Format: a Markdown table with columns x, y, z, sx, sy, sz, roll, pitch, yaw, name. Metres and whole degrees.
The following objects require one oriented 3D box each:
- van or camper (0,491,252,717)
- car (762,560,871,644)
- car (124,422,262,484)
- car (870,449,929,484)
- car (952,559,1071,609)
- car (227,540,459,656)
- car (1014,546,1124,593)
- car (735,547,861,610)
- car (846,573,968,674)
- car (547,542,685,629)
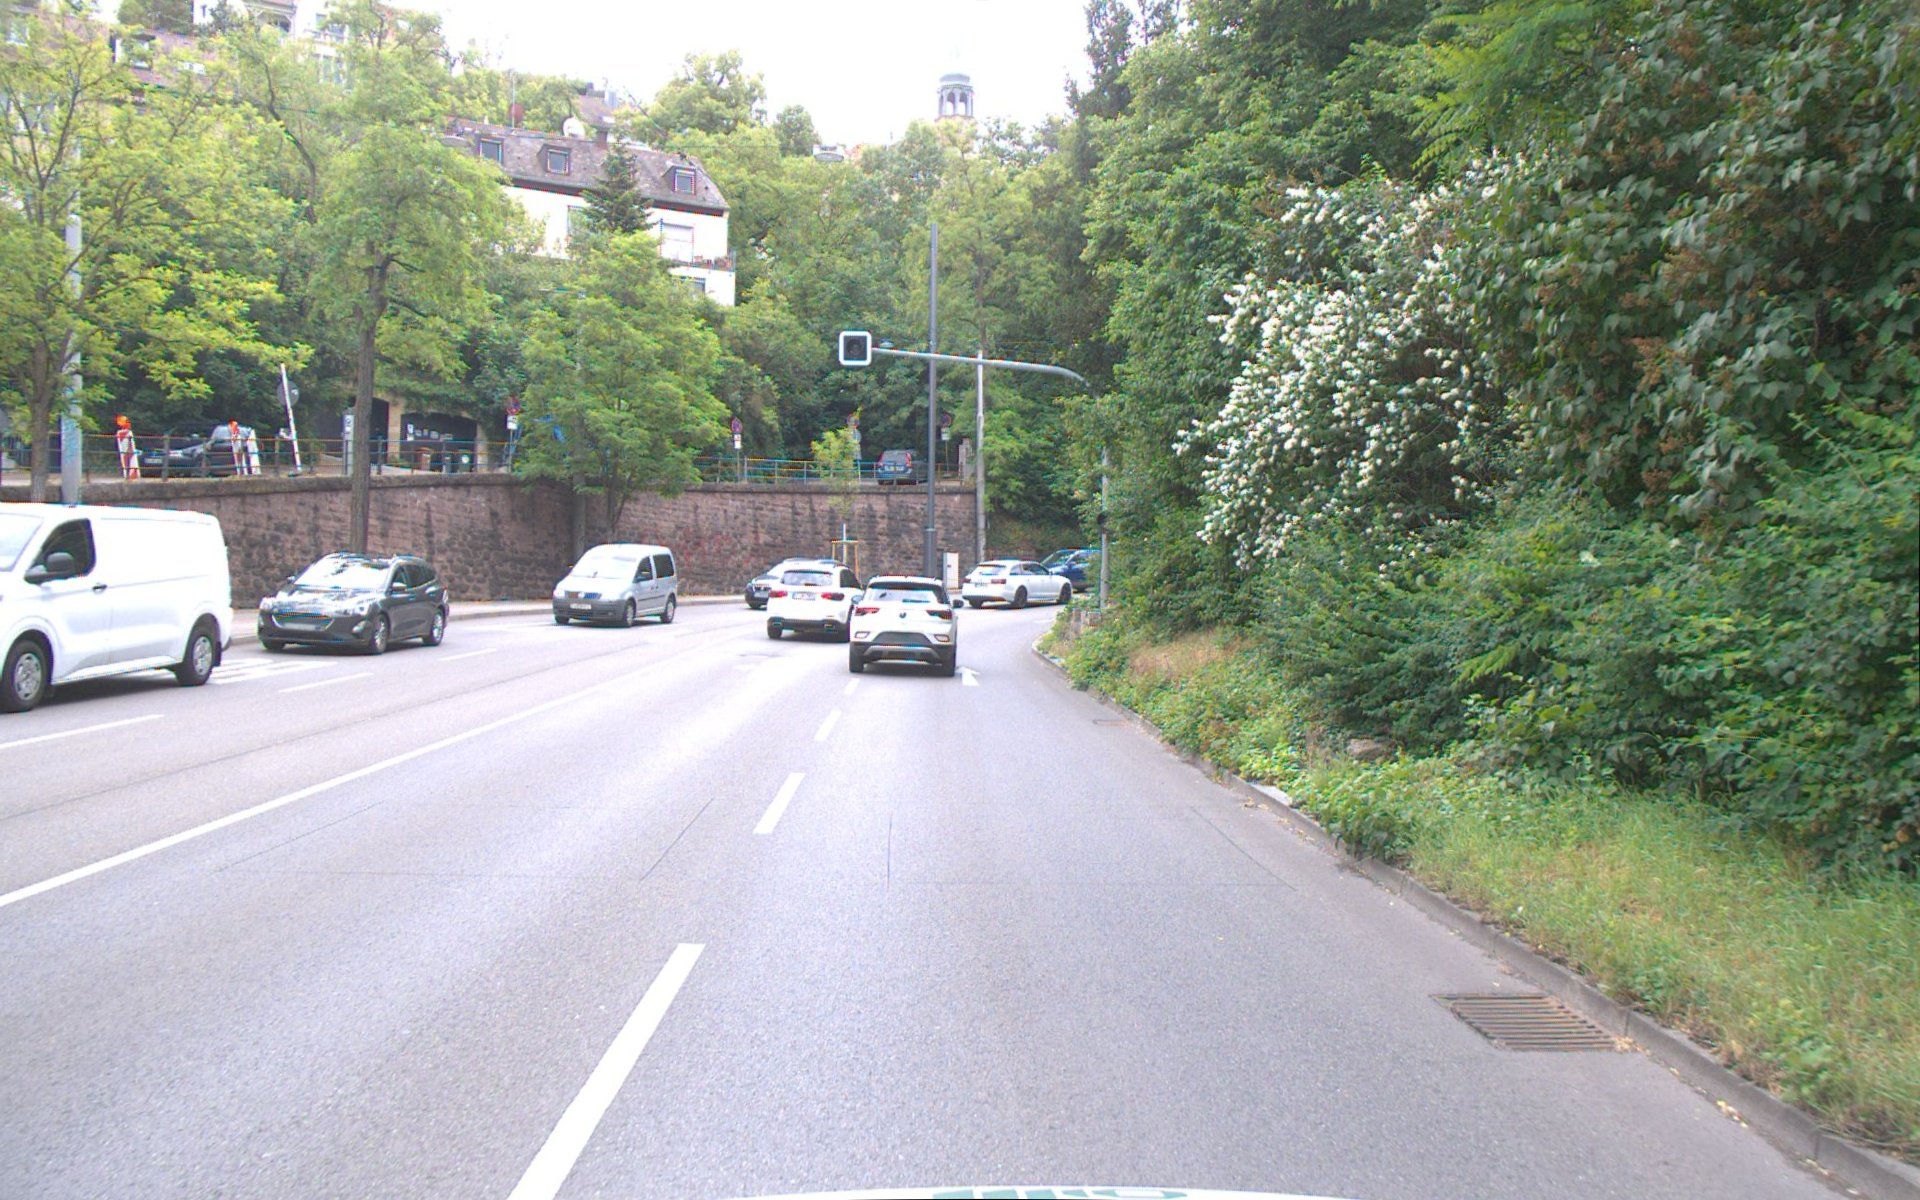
| x | y | z | sx | sy | sz | roll | pitch | yaw | name |
| --- | --- | --- | --- | --- | --- | --- | --- | --- | --- |
| -9.648 | 0.001 | 17.387 | 1.952 | 2.049 | 5.562 | 1 | 1 | 1 | van or camper |
| -3.188 | 0.037 | 37.532 | 1.838 | 1.680 | 4.343 | 4 | 0 | 2 | car |
| -20.247 | -3.854 | 43.796 | 1.518 | 1.302 | 3.602 | -1 | 1 | 10 | car |
| -2.688 | -5.992 | 74.530 | 1.951 | 1.511 | 4.006 | 0 | 4 | 9 | car |
| 1.713 | -0.531 | 53.218 | 2.204 | 1.545 | 4.302 | 0 | 1 | 27 | car |
| -9.787 | -0.057 | 26.633 | 1.952 | 1.646 | 4.330 | 2 | 1 | 2 | car |
| 4.157 | -1.139 | 62.741 | 3.964 | 1.713 | 1.971 | -1 | 1 | -41 | car |
| -4.792 | -0.663 | 49.534 | 1.906 | 1.723 | 4.285 | 3 | 2 | 22 | car |
| -0.971 | 0.356 | 27.927 | 1.828 | 1.583 | 3.890 | 0 | 0 | -5 | car |
| -7.969 | -0.393 | 38.693 | 1.904 | 1.829 | 4.289 | 3 | 2 | 6 | car |
